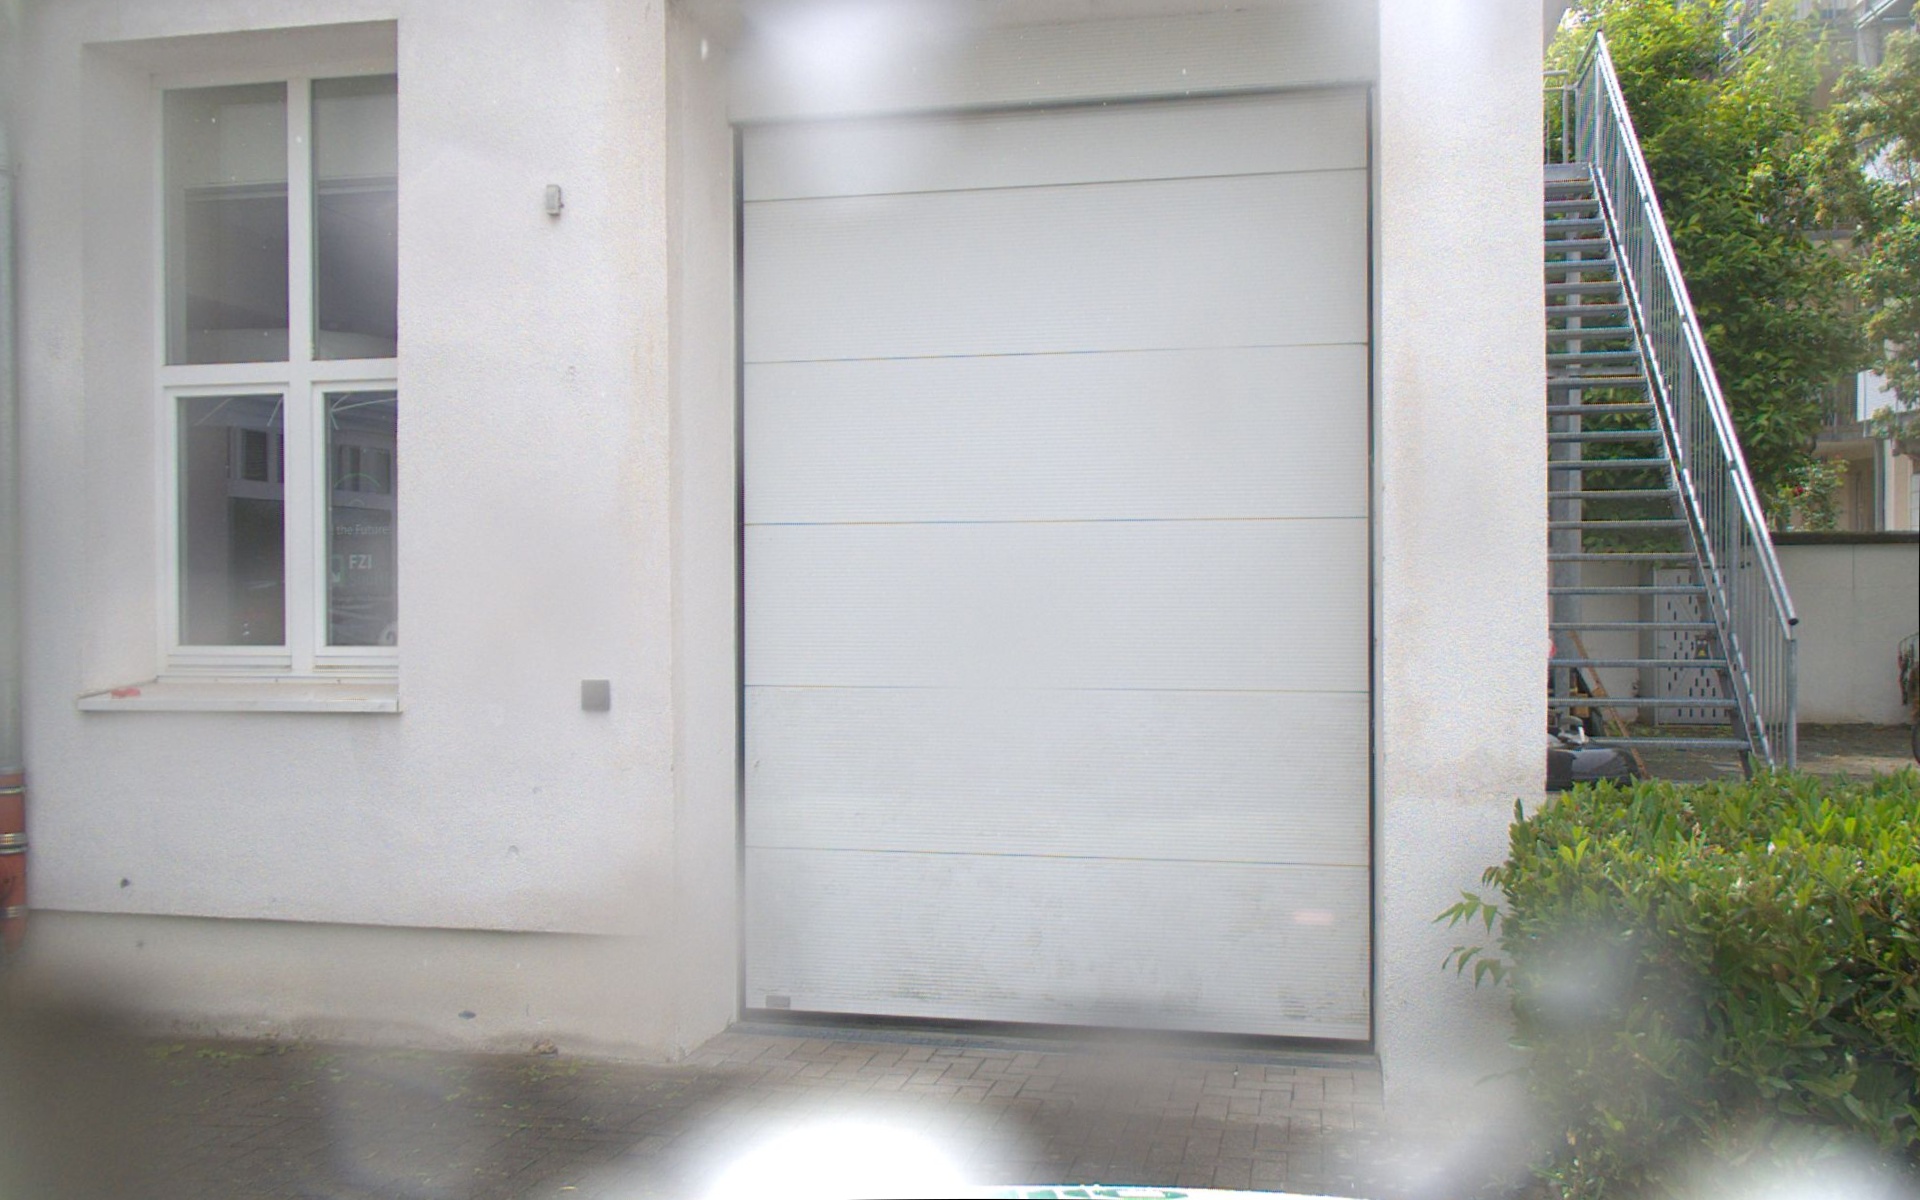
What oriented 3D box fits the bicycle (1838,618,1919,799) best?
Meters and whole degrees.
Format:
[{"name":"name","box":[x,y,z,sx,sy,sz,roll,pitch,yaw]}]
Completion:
[{"name":"bicycle","box":[7.169,0.705,10.429,2.782,1.097,0.690,1,1,9]}]

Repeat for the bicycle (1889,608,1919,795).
[{"name":"bicycle","box":[7.108,0.640,9.720,2.782,1.097,0.690,1,1,9]}]
